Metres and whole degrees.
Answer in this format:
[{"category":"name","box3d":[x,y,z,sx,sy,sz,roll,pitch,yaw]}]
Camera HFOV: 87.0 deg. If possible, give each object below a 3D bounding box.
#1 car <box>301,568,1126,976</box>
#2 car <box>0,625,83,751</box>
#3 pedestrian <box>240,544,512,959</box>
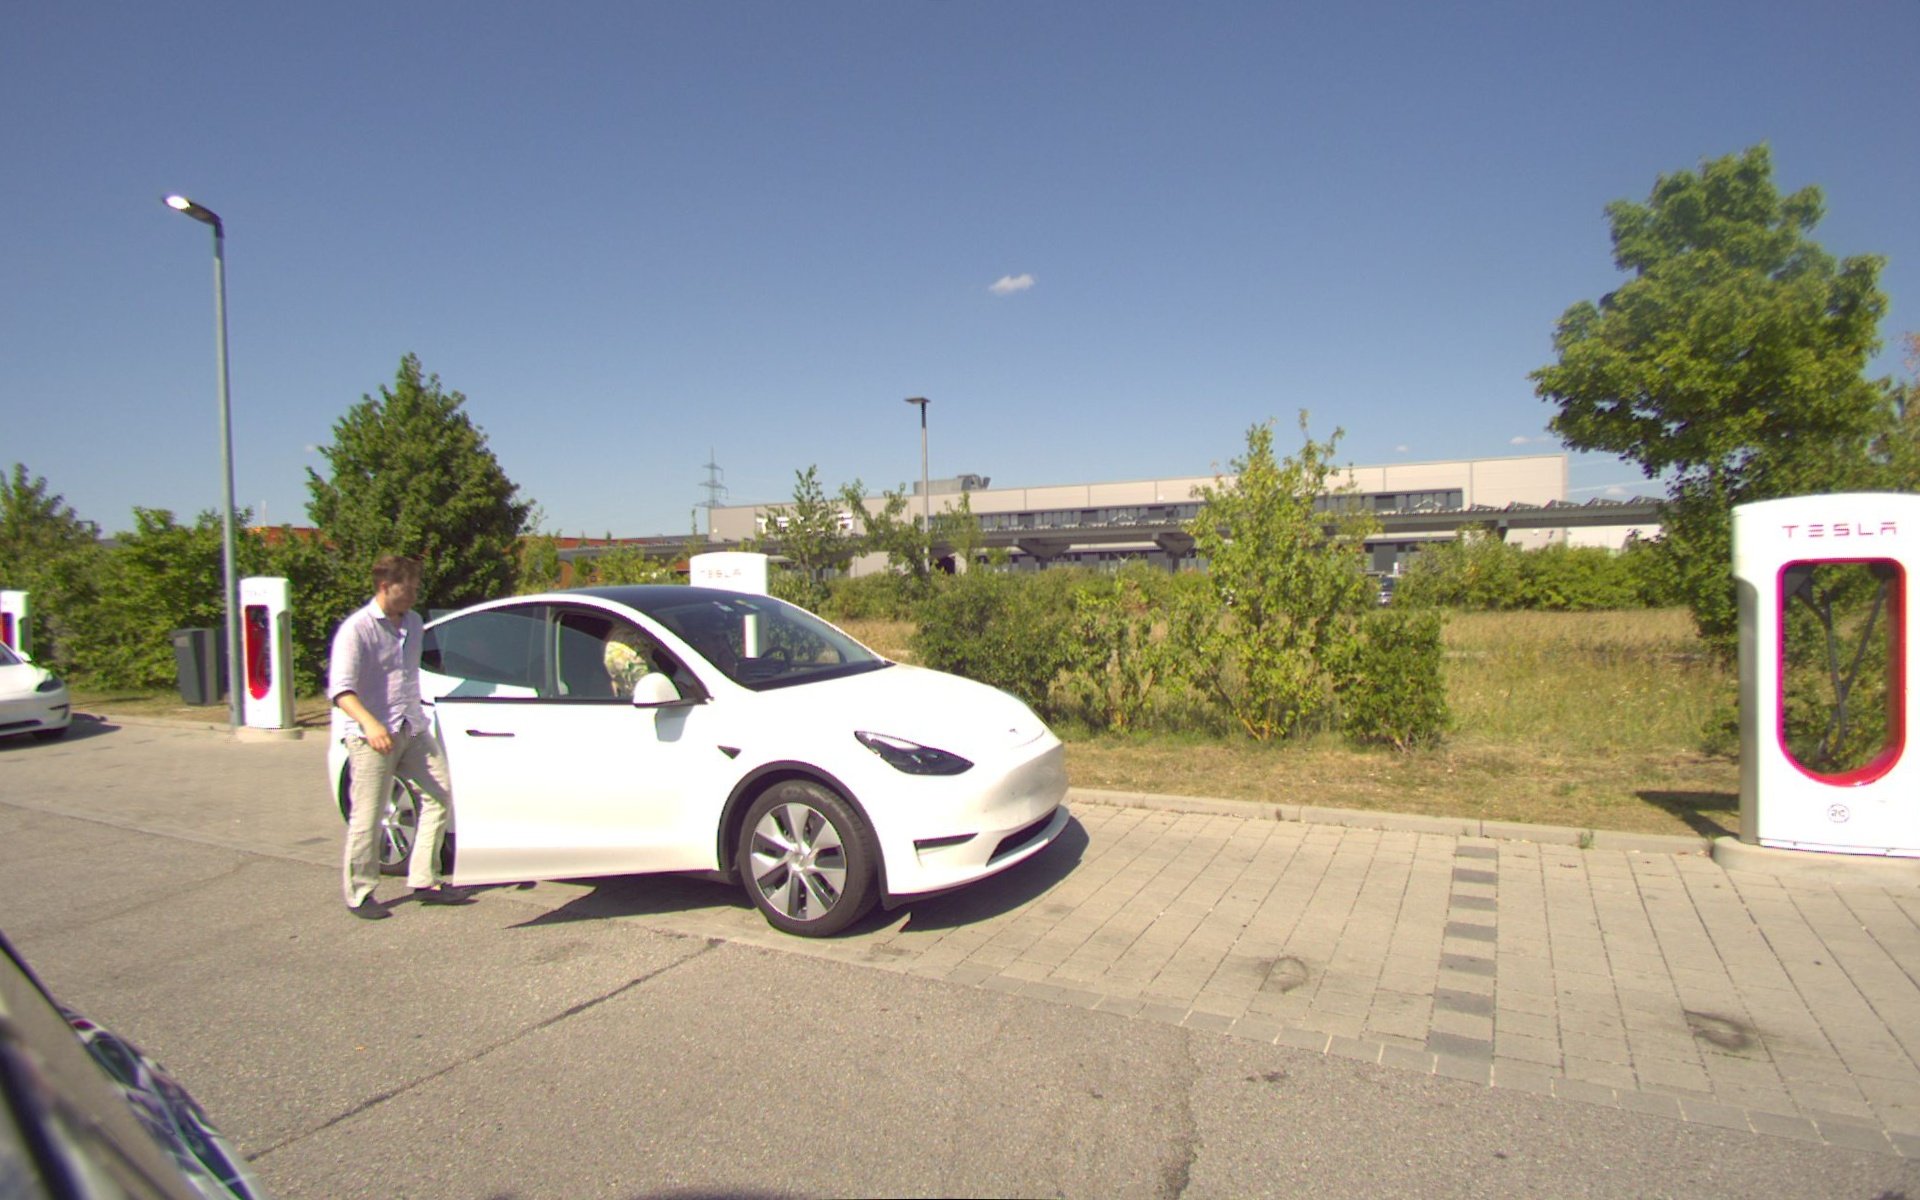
[{"category":"car","box3d":[-1.485,0.701,5.832,4.465,1.612,1.854,-1,1,27]},{"category":"car","box3d":[-12.868,1.069,12.317,4.427,1.388,1.806,-2,1,28]},{"category":"pedestrian","box3d":[-2.882,0.663,5.002,1.032,1.814,0.729,-2,1,33]}]
